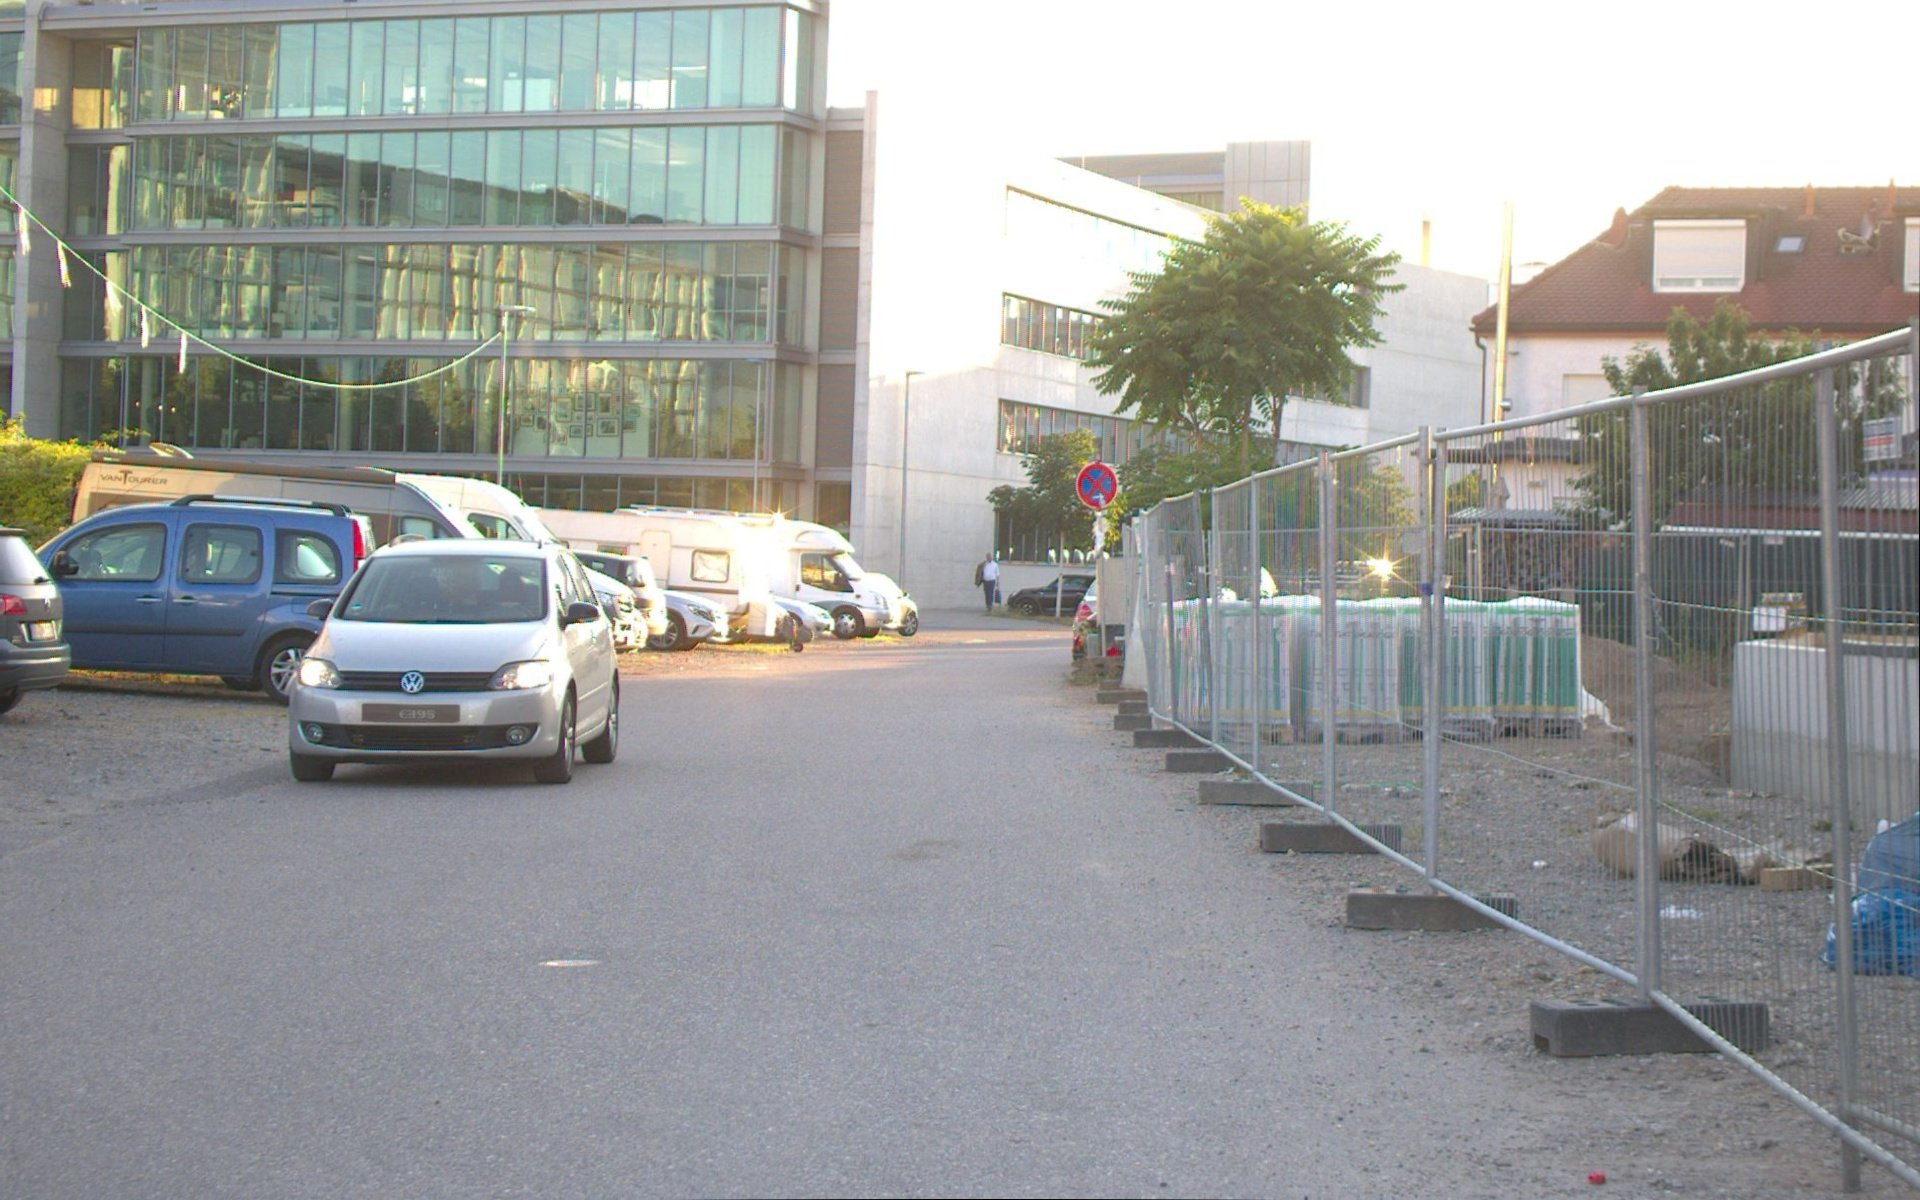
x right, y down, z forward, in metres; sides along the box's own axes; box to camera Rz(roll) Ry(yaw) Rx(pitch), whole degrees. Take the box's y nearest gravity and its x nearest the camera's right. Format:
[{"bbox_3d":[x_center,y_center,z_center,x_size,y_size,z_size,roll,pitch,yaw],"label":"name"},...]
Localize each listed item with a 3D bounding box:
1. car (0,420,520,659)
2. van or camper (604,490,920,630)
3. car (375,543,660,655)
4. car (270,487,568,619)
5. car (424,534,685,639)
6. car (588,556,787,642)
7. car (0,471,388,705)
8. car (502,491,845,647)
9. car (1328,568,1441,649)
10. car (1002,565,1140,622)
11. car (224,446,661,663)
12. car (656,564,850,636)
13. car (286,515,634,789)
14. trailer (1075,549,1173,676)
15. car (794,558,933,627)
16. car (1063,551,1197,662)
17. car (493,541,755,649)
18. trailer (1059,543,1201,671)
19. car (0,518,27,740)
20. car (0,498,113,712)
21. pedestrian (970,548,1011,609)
[{"bbox_3d":[-9.256,-0.774,45.790,6.387,2.704,2.113,4,-1,-2],"label":"car"},{"bbox_3d":[-4.525,-0.924,78.871,6.744,2.888,2.407,3,0,11],"label":"van or camper"},{"bbox_3d":[-6.685,-0.015,52.192,3.926,1.502,1.789,2,0,6],"label":"car"},{"bbox_3d":[-12.328,-1.078,78.397,6.247,2.664,2.221,3,1,16],"label":"car"},{"bbox_3d":[-6.776,-0.233,57.557,3.928,1.585,1.747,2,1,14],"label":"car"},{"bbox_3d":[-5.418,-0.026,68.589,3.629,1.514,1.705,3,1,7],"label":"car"},{"bbox_3d":[-7.367,-0.139,31.780,3.924,1.905,1.749,4,1,-7],"label":"car"},{"bbox_3d":[-5.385,-0.579,64.997,5.891,2.525,2.410,4,-1,12],"label":"car"},{"bbox_3d":[11.449,0.201,92.559,2.067,2.088,4.868,1,1,18],"label":"car"},{"bbox_3d":[3.301,-0.194,102.052,3.737,1.477,1.768,3,2,16],"label":"car"},{"bbox_3d":[-7.457,-0.665,49.865,5.826,2.703,2.050,4,1,4],"label":"car"},{"bbox_3d":[-4.408,-0.003,73.553,3.809,1.324,1.692,3,1,9],"label":"car"},{"bbox_3d":[-3.255,0.298,23.113,1.670,1.614,4.285,2,0,0],"label":"car"},{"bbox_3d":[2.199,0.155,46.472,1.250,1.659,2.803,0,0,1],"label":"trailer"},{"bbox_3d":[-2.285,-0.159,82.279,1.688,1.514,4.356,3,0,21],"label":"car"},{"bbox_3d":[2.799,0.092,55.784,1.806,1.719,4.927,0,0,7],"label":"car"},{"bbox_3d":[-5.867,-0.093,60.121,4.129,1.585,1.747,4,1,14],"label":"car"},{"bbox_3d":[2.531,0.082,50.230,1.731,1.771,4.936,0,0,7],"label":"trailer"},{"bbox_3d":[-8.531,0.123,23.229,3.927,1.511,1.642,2,0,9],"label":"car"},{"bbox_3d":[-8.746,-0.044,26.539,3.927,1.575,1.642,2,1,9],"label":"car"},{"bbox_3d":[0.934,-0.666,105.378,0.899,1.844,0.856,0,1,-37],"label":"pedestrian"}]
